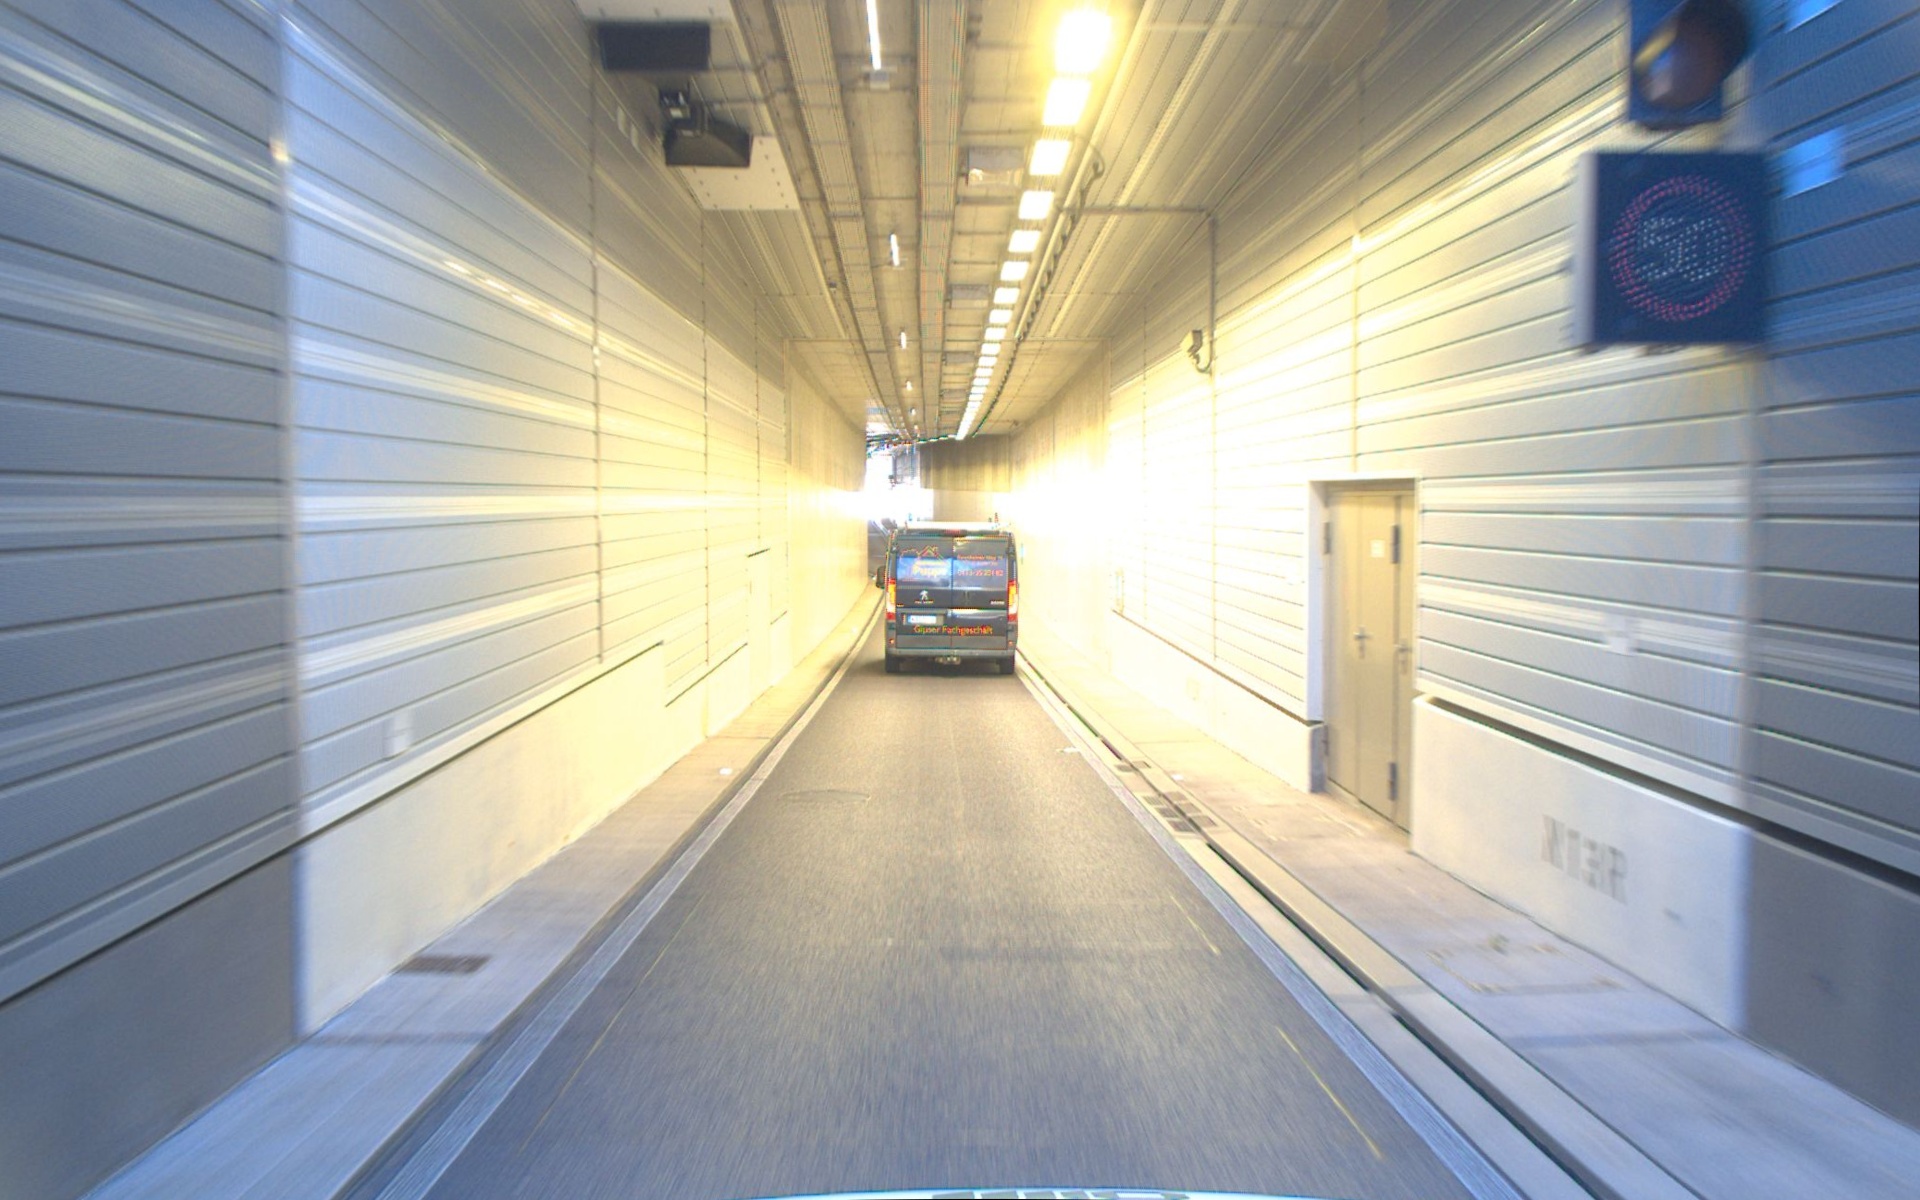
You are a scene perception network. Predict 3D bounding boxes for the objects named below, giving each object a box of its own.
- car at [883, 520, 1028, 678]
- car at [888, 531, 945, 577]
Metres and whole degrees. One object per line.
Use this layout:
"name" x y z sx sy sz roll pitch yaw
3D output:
"car" -0.116 -0.095 26.466 2.115 2.305 4.636 0 2 -1
"car" -1.687 -1.786 62.495 2.043 1.539 4.636 0 4 -3
